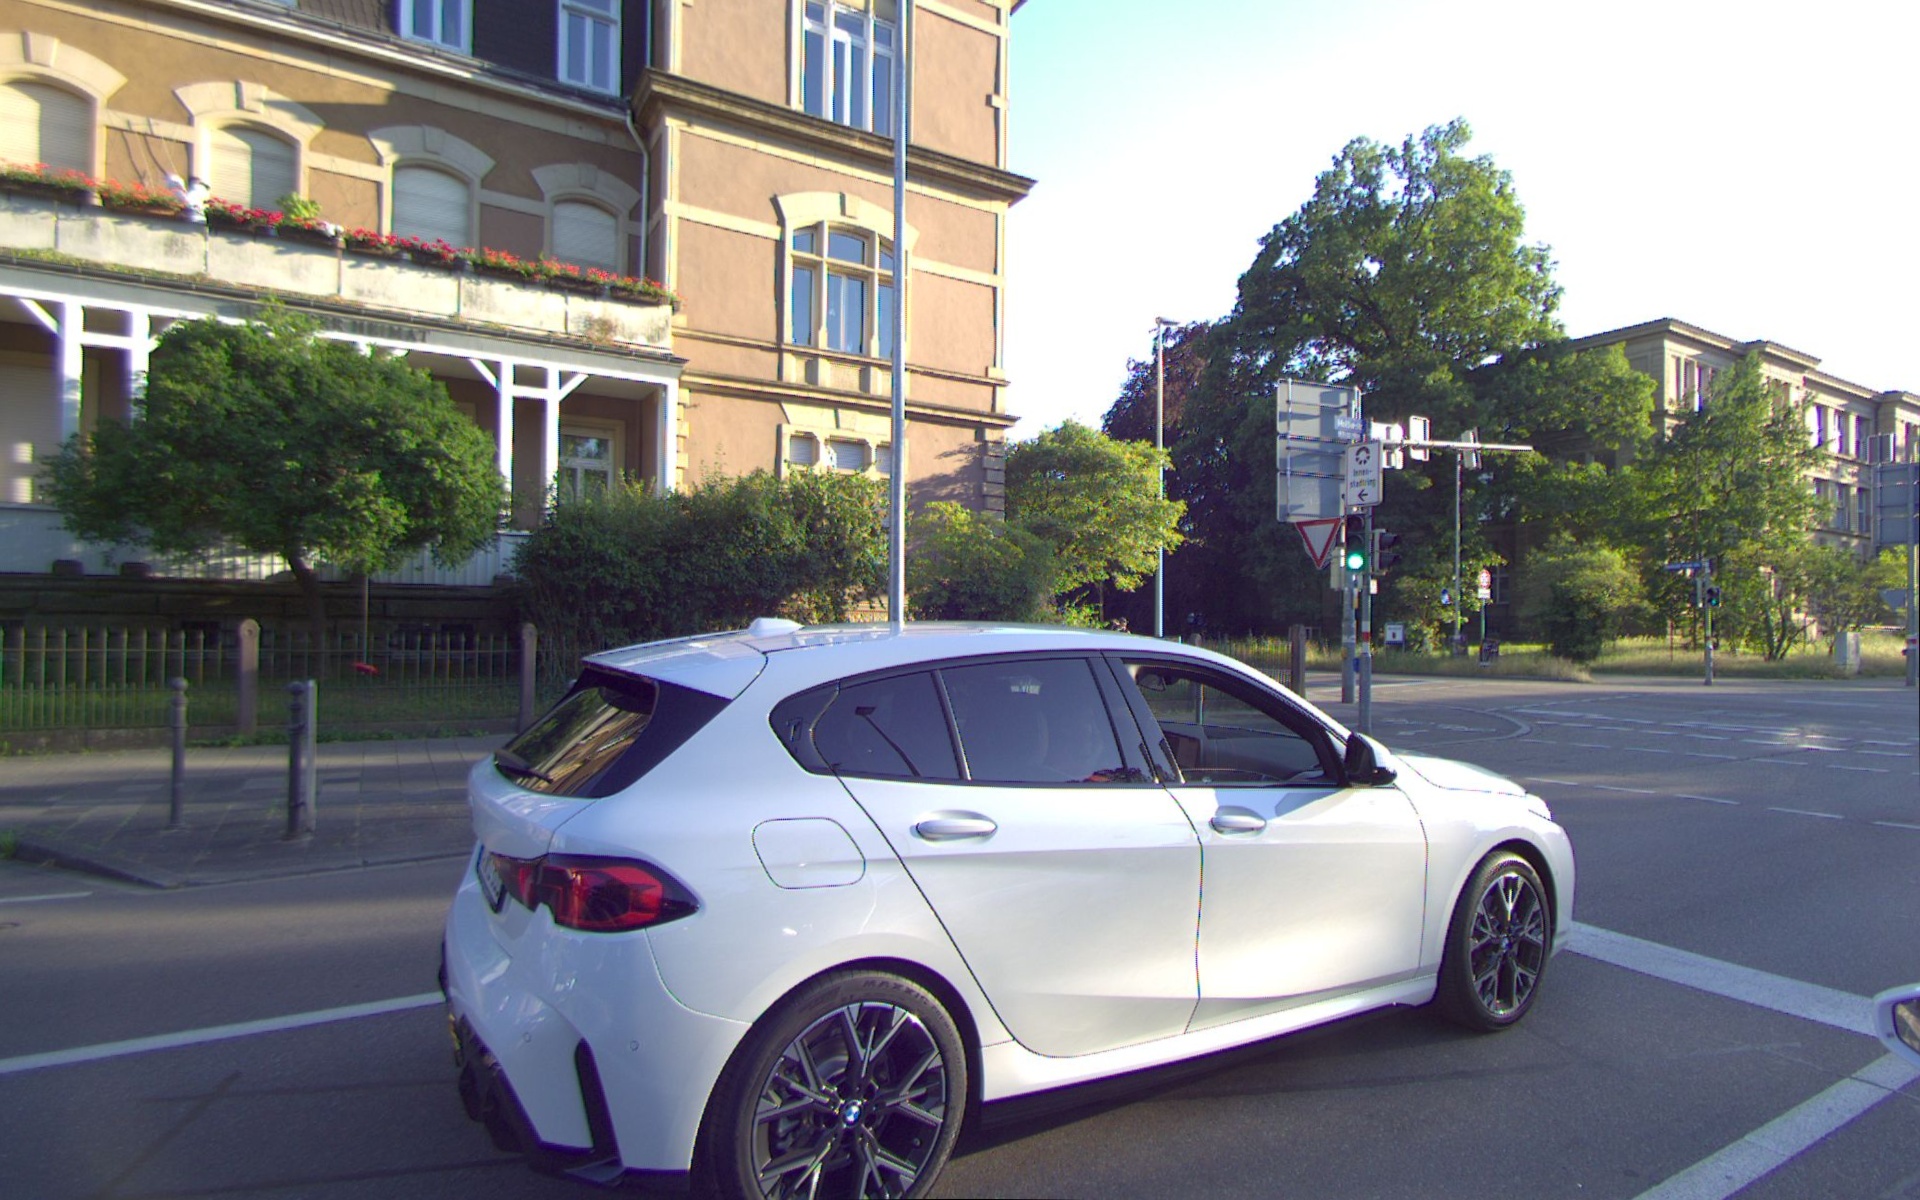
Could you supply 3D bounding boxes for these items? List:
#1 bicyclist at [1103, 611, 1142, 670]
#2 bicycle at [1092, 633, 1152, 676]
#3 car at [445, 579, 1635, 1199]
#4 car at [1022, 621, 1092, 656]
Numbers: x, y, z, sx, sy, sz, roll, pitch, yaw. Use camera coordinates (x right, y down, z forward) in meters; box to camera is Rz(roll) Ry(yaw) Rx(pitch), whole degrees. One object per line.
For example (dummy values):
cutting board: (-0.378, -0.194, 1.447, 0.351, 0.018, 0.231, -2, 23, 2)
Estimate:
bicyclist: (4.699, 1.161, 29.062, 0.646, 1.654, 0.907, 2, 0, -31)
bicycle: (4.676, 1.560, 29.083, 0.653, 1.104, 1.887, 2, 0, -30)
car: (0.498, 0.770, 3.693, 4.141, 1.485, 1.743, 2, -2, -31)
car: (5.344, 2.097, 55.633, 1.841, 1.870, 4.087, 1, -2, -30)
